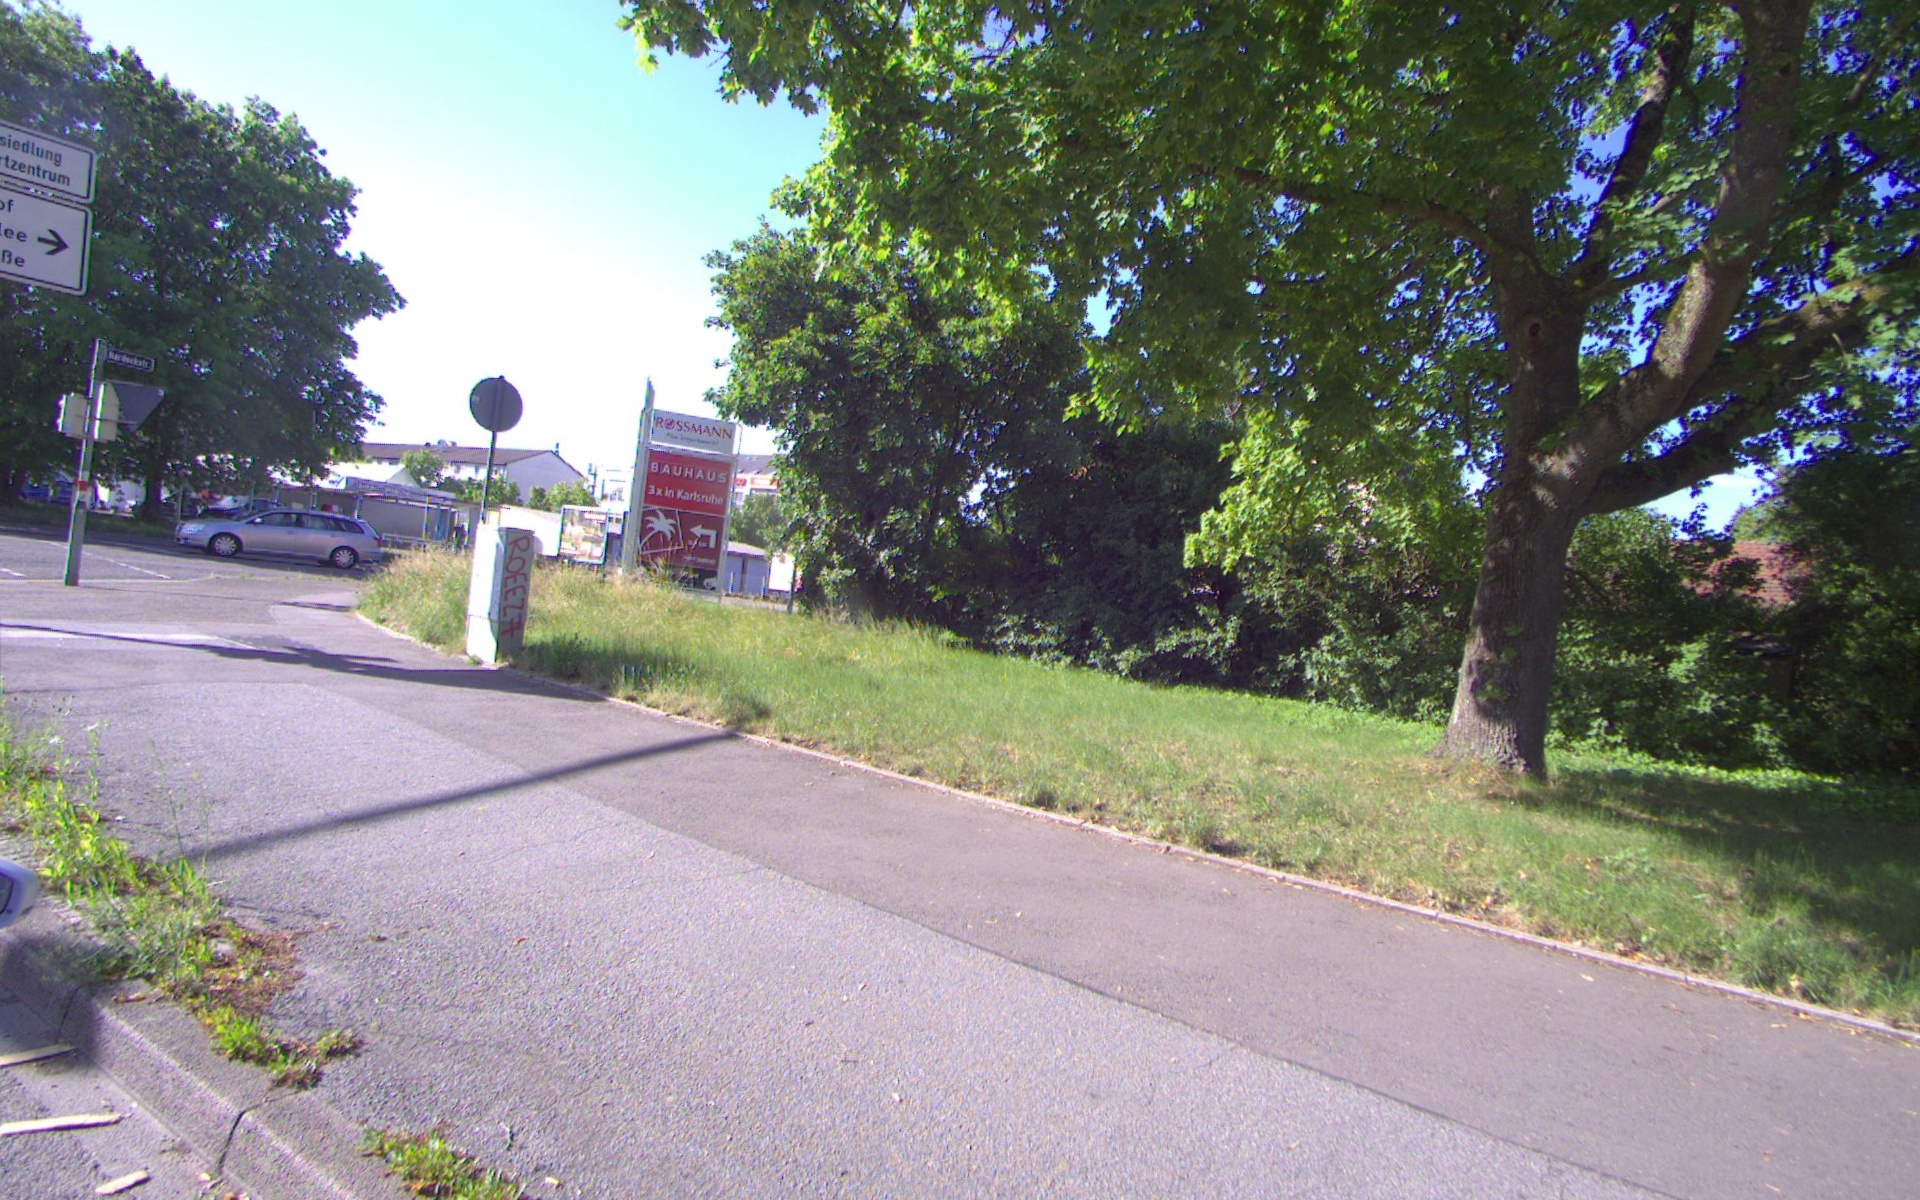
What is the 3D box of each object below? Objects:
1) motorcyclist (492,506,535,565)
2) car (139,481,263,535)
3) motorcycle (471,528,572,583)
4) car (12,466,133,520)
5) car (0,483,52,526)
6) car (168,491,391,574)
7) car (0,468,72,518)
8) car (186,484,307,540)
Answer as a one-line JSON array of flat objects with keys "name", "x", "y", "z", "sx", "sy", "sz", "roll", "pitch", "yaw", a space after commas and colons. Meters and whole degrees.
[{"name": "motorcyclist", "x": -14.091, "y": -2.026, "z": 31.754, "sx": 0.858, "sy": 1.699, "sz": 0.824, "roll": 9, "pitch": -2, "yaw": -42}, {"name": "car", "x": -32.341, "y": -3.899, "z": 43.004, "sx": 1.771, "sy": 1.499, "sz": 3.854, "roll": 7, "pitch": -2, "yaw": 12}, {"name": "motorcycle", "x": -13.918, "y": -1.396, "z": 31.986, "sx": 2.718, "sy": 1.285, "sz": 0.824, "roll": 10, "pitch": -3, "yaw": -43}, {"name": "car", "x": -39.311, "y": -4.718, "z": 44.695, "sx": 1.772, "sy": 1.581, "sz": 3.851, "roll": 8, "pitch": -2, "yaw": 0}, {"name": "car", "x": -46.582, "y": -4.786, "z": 48.473, "sx": 1.675, "sy": 1.704, "sz": 3.722, "roll": 7, "pitch": -3, "yaw": 29}, {"name": "car", "x": -18.331, "y": -1.782, "z": 27.269, "sx": 1.973, "sy": 1.593, "sz": 4.609, "roll": 6, "pitch": -1, "yaw": 43}, {"name": "car", "x": -42.038, "y": -4.845, "z": 44.603, "sx": 1.672, "sy": 1.704, "sz": 3.729, "roll": 7, "pitch": -2, "yaw": 6}, {"name": "car", "x": -30.175, "y": -3.684, "z": 42.698, "sx": 1.771, "sy": 1.630, "sz": 3.854, "roll": 7, "pitch": -2, "yaw": 12}]
